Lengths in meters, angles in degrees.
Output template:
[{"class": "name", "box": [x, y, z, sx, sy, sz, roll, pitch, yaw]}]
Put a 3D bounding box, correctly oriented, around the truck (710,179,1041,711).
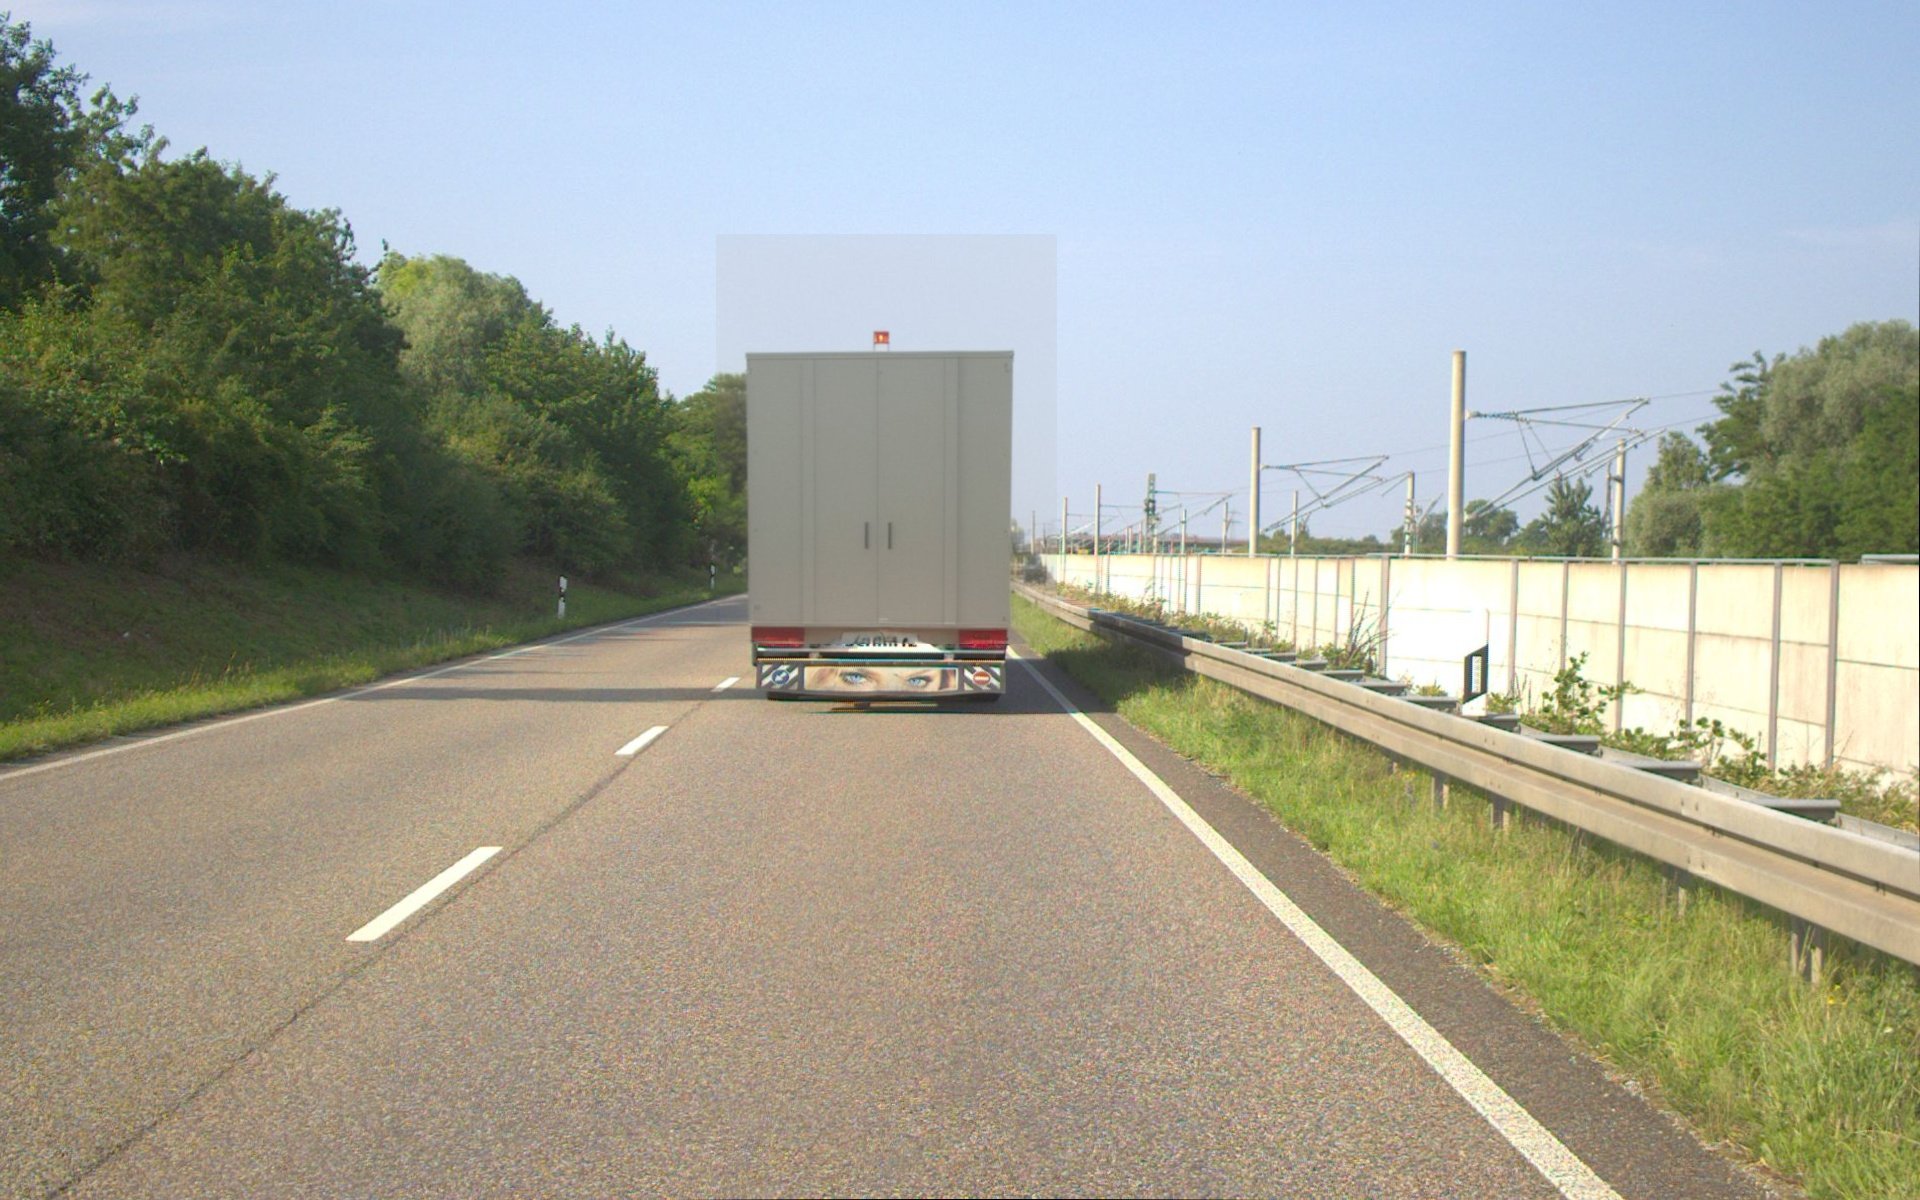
[{"class": "truck", "box": [-0.974, -1.540, 37.705, 3.033, 4.903, 11.685, 0, 1, -2]}]
